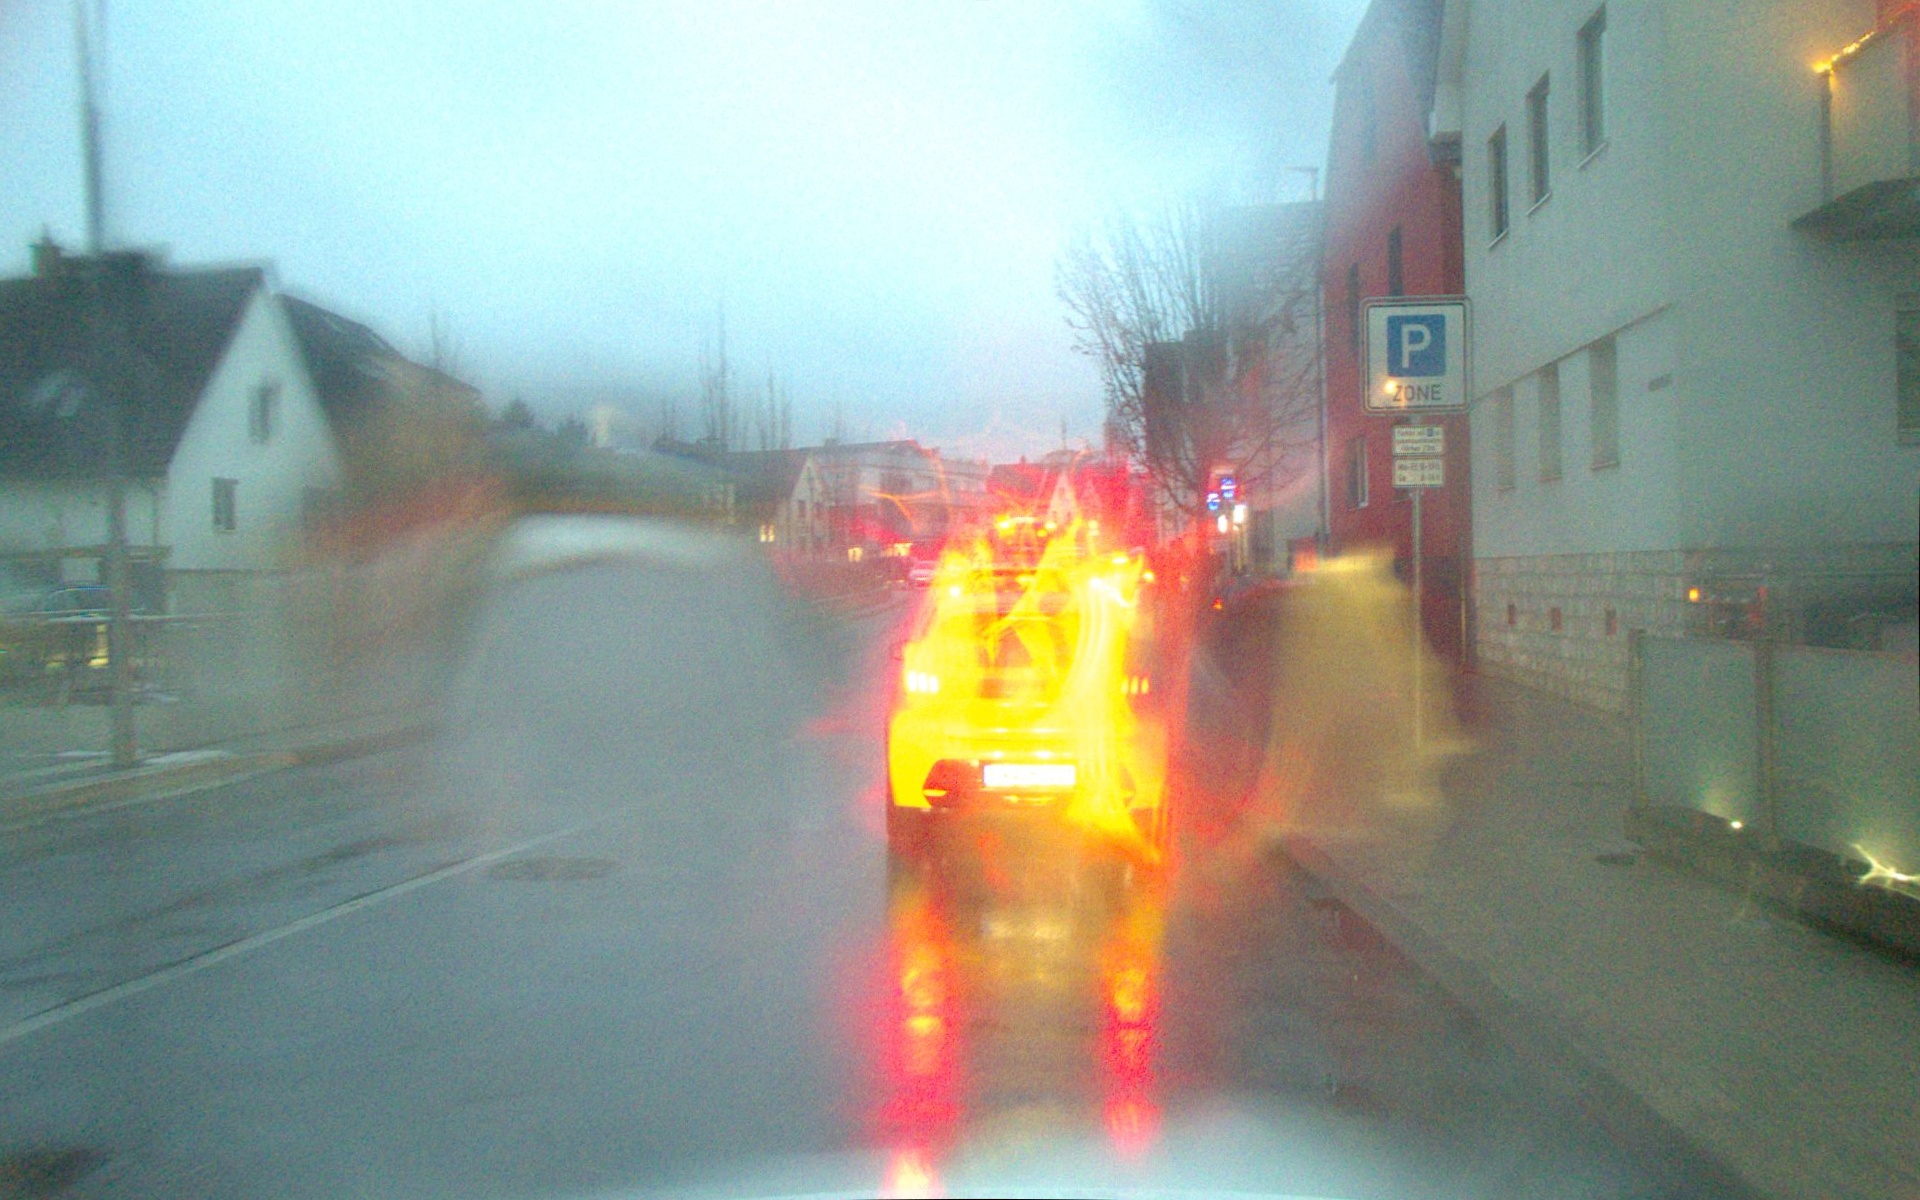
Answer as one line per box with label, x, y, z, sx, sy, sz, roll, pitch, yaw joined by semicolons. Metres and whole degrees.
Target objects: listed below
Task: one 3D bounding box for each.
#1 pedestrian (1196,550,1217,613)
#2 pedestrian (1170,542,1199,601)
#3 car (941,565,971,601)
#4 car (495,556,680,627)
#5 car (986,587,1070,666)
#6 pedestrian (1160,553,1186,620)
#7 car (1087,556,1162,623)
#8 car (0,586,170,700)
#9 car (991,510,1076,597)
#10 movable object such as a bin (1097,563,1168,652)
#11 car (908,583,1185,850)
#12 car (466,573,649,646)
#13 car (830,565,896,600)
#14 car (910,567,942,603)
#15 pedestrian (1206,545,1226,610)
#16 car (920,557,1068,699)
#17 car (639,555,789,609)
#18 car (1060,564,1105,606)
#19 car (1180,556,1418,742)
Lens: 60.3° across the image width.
pedestrian;6.737;-0.503;45.159;0.517;1.682;0.954;0;-1;12
pedestrian;6.918;-0.880;50.924;0.697;1.744;1.035;-2;2;15
car;-0.259;-1.094;108.620;1.880;2.254;3.975;0;-1;0
car;-8.405;-0.188;37.479;3.712;1.549;1.716;0;0;8
car;1.279;0.461;31.507;1.509;1.354;3.312;0;1;2
pedestrian;5.690;-0.359;44.146;0.561;1.729;0.653;-3;0;3
car;4.495;-0.317;45.762;1.699;1.721;4.387;-1;1;1
car;-13.605;0.611;23.975;1.764;1.508;4.574;-3;0;4
car;2.802;-1.723;64.437;3.125;3.084;6.306;0;-1;1
movable object such as a bin;3.047;0.110;29.387;1.105;1.445;1.418;-4;2;4
car;0.531;0.633;10.707;1.530;1.437;3.019;0;1;2
car;-8.373;0.183;34.603;3.373;1.396;1.601;-2;1;1
car;-6.290;-1.117;107.478;1.984;2.204;4.315;1;-2;-44
car;-2.058;-0.916;100.708;1.880;2.063;3.975;0;-1;0
pedestrian;7.301;-0.648;47.207;0.517;1.831;0.865;0;1;12
car;0.452;0.288;21.215;1.730;1.656;3.587;0;1;2
car;-7.934;-0.577;53.633;4.531;1.696;2.000;0;0;-1
car;5.721;-0.720;77.526;1.956;1.897;4.084;0;1;2
car;3.222;0.372;16.460;1.692;1.489;4.201;-4;1;4
